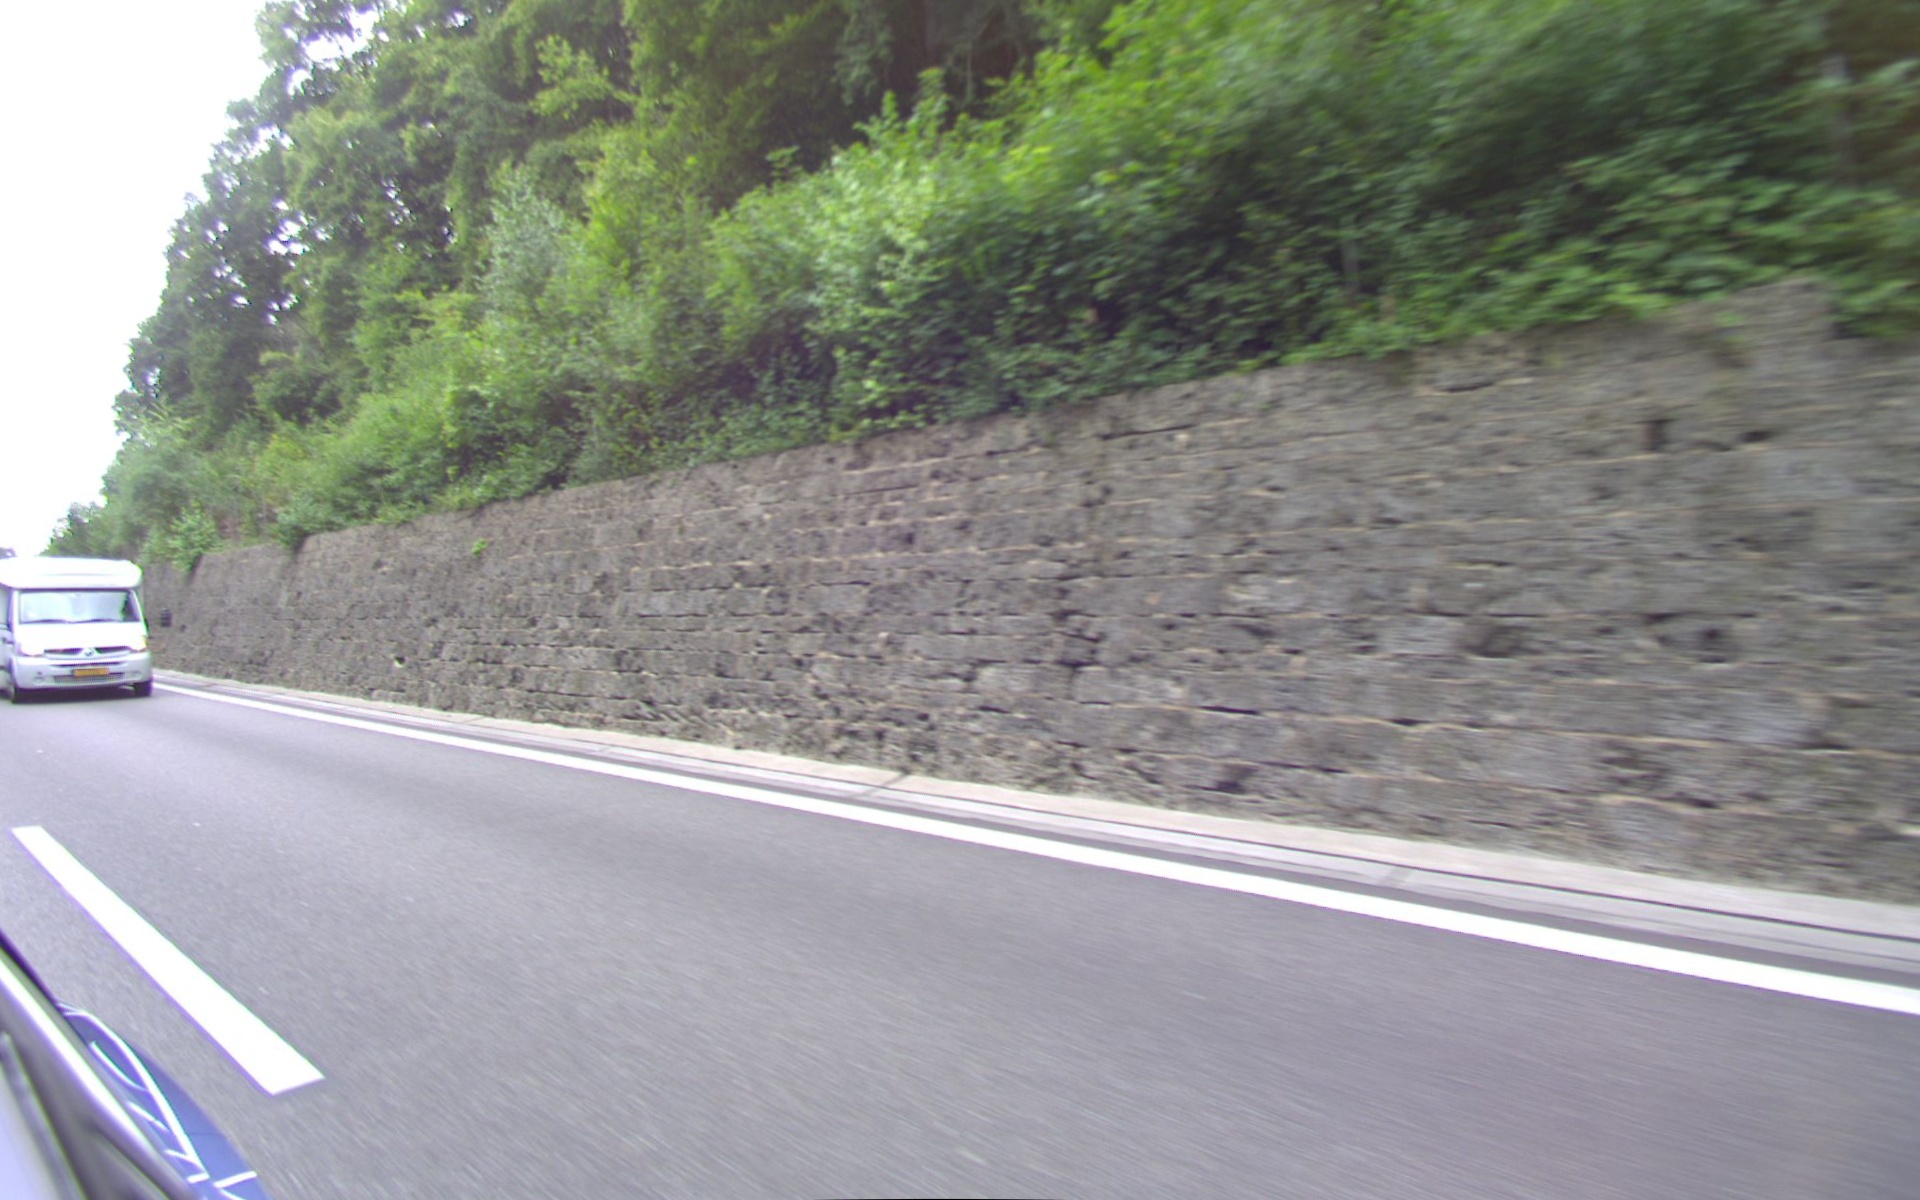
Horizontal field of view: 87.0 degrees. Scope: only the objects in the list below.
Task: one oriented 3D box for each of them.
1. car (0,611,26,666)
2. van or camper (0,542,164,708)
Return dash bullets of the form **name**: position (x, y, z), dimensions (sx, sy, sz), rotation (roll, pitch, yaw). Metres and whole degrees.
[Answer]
- **car**: position (-33.418, 1.311, 34.711), dimensions (4.001, 1.796, 1.784), rotation (-1, 0, 44)
- **van or camper**: position (-17.929, 0.465, 19.960), dimensions (7.020, 2.756, 2.242), rotation (-1, -1, 41)
